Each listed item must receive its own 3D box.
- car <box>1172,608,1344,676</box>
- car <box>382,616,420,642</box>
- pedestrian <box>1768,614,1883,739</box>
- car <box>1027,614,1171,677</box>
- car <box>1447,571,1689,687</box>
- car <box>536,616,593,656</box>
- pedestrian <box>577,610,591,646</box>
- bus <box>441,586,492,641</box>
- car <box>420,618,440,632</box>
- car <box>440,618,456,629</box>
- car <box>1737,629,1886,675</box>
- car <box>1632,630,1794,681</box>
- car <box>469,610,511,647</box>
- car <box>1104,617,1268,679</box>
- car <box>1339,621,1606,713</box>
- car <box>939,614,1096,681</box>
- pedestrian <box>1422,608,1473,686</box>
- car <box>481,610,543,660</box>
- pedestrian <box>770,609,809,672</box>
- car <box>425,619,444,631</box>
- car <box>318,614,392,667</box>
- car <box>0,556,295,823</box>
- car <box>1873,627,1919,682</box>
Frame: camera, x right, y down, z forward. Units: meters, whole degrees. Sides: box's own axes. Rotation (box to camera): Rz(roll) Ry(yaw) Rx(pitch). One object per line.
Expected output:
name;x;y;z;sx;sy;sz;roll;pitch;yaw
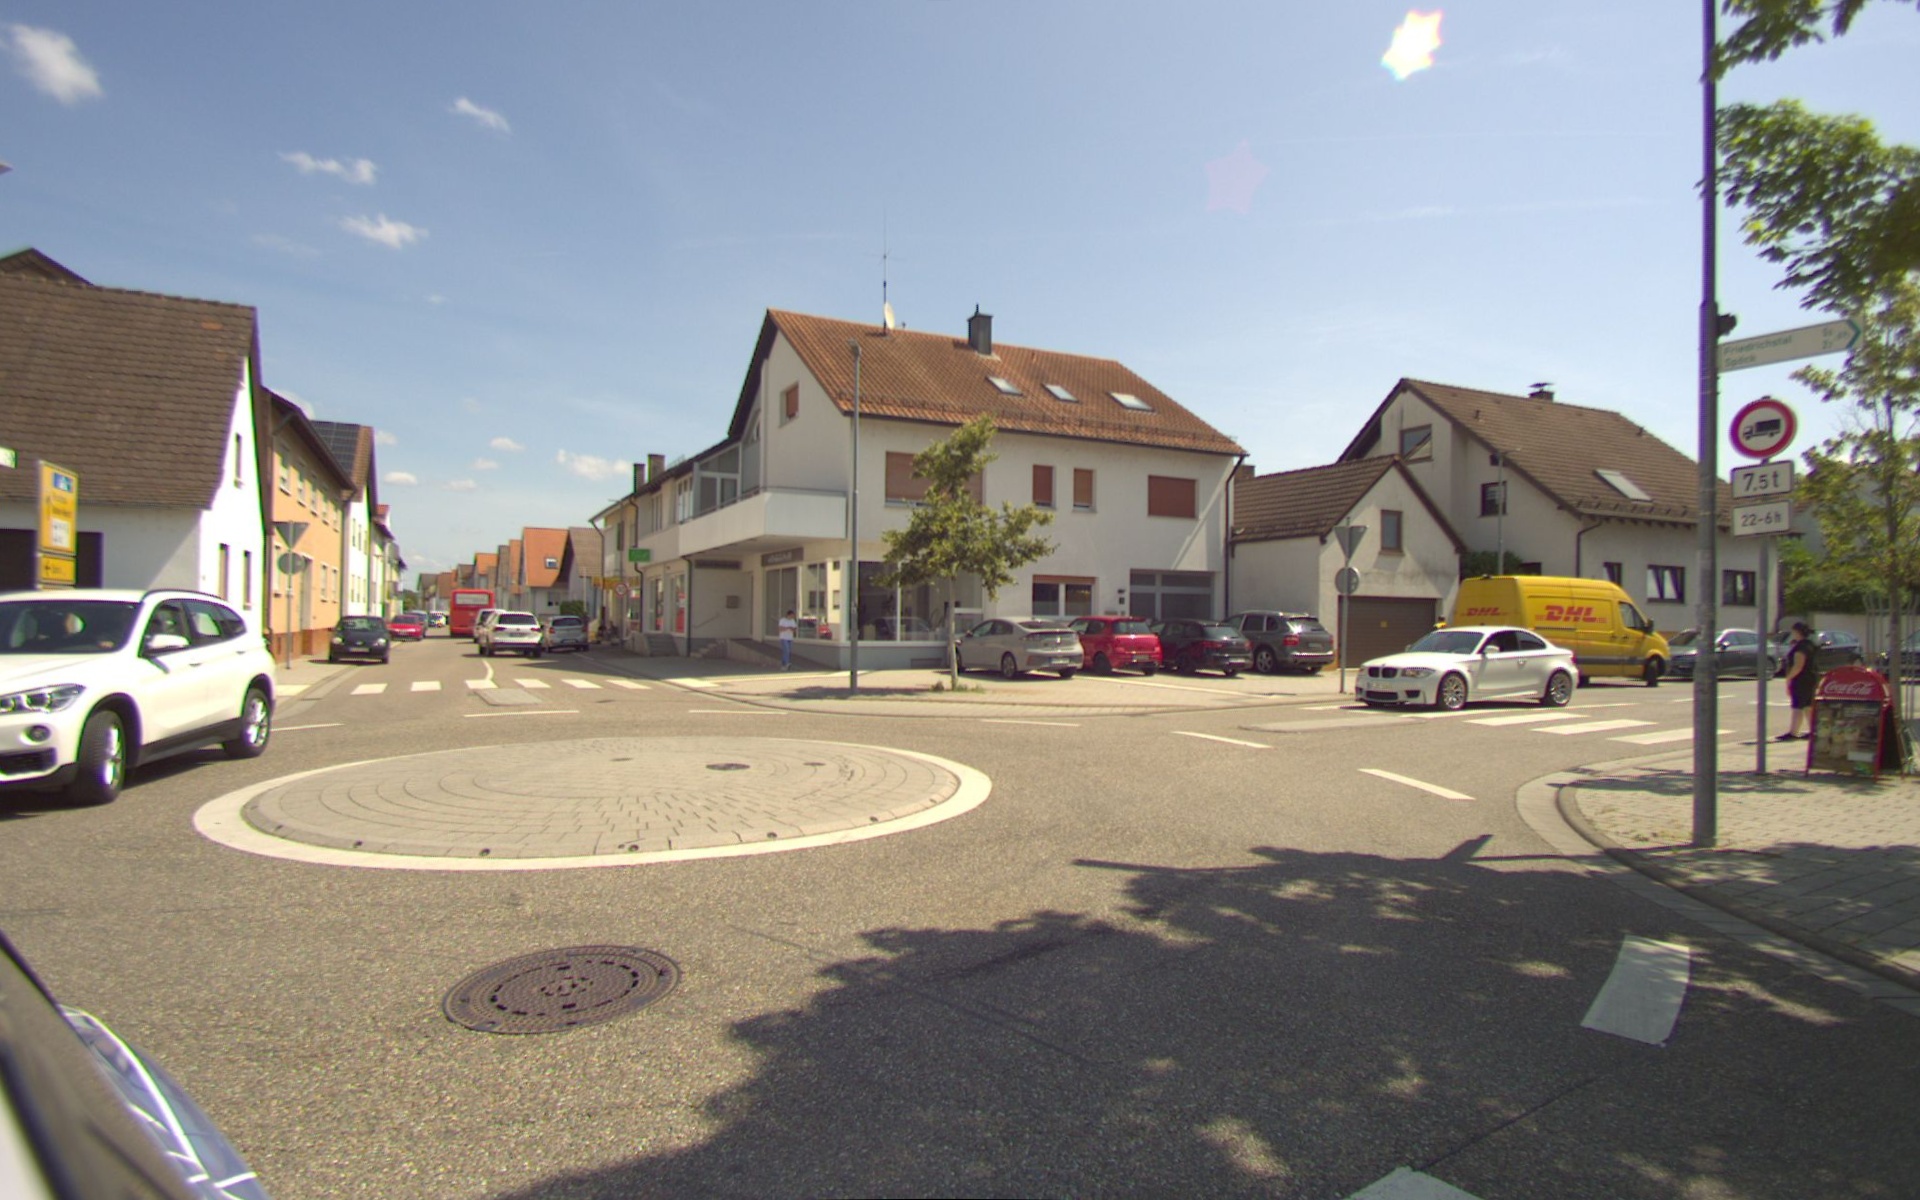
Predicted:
car;8.388;1.130;28.935;1.953;1.752;4.764;1;-1;-28
car;-31.567;1.632;57.246;1.735;1.439;4.202;1;-2;-27
pedestrian;11.493;1.002;13.478;0.872;1.601;0.746;-1;-2;16
car;3.526;1.133;26.422;1.722;1.488;3.977;1;-1;-28
car;14.839;0.738;24.705;5.585;2.592;2.120;1;-2;-22
car;-17.026;1.506;43.505;1.720;1.527;4.013;-3;1;-29
pedestrian;-19.365;1.425;52.070;0.569;1.803;0.695;-1;0;-27
bus;-33.004;0.915;67.437;2.590;3.257;12.061;3;-2;-27
car;-57.379;2.724;109.539;1.735;1.439;4.201;2;-2;-30
car;-72.978;3.371;144.138;1.735;1.439;3.864;2;-2;-30
car;26.057;1.560;30.966;3.904;1.253;1.792;-1;-1;-21
car;21.102;1.517;28.380;3.904;1.253;1.792;-1;-1;-21
car;-25.136;1.518;54.008;1.747;1.835;4.456;3;-2;-28
car;5.932;1.216;27.100;1.804;1.461;4.493;1;-1;-28
car;9.018;1.117;17.827;4.259;1.460;1.887;1;-1;-23
car;1.307;1.112;25.067;1.804;1.461;4.493;1;-1;-28
pedestrian;11.748;1.130;24.418;0.774;1.840;1.021;-1;-3;7
car;-16.574;1.274;37.340;1.839;1.723;4.557;1;-1;-27
pedestrian;-4.483;1.050;26.575;0.744;1.595;0.960;-1;0;-25
car;-62.325;2.943;120.060;1.735;1.439;4.201;2;-2;-30
car;-18.449;1.219;30.986;1.662;1.474;3.640;3;-3;-27
car;-7.285;0.615;8.228;1.815;1.658;4.386;-1;-1;-15
car;27.008;1.417;27.209;4.341;1.361;1.886;-1;0;-21
